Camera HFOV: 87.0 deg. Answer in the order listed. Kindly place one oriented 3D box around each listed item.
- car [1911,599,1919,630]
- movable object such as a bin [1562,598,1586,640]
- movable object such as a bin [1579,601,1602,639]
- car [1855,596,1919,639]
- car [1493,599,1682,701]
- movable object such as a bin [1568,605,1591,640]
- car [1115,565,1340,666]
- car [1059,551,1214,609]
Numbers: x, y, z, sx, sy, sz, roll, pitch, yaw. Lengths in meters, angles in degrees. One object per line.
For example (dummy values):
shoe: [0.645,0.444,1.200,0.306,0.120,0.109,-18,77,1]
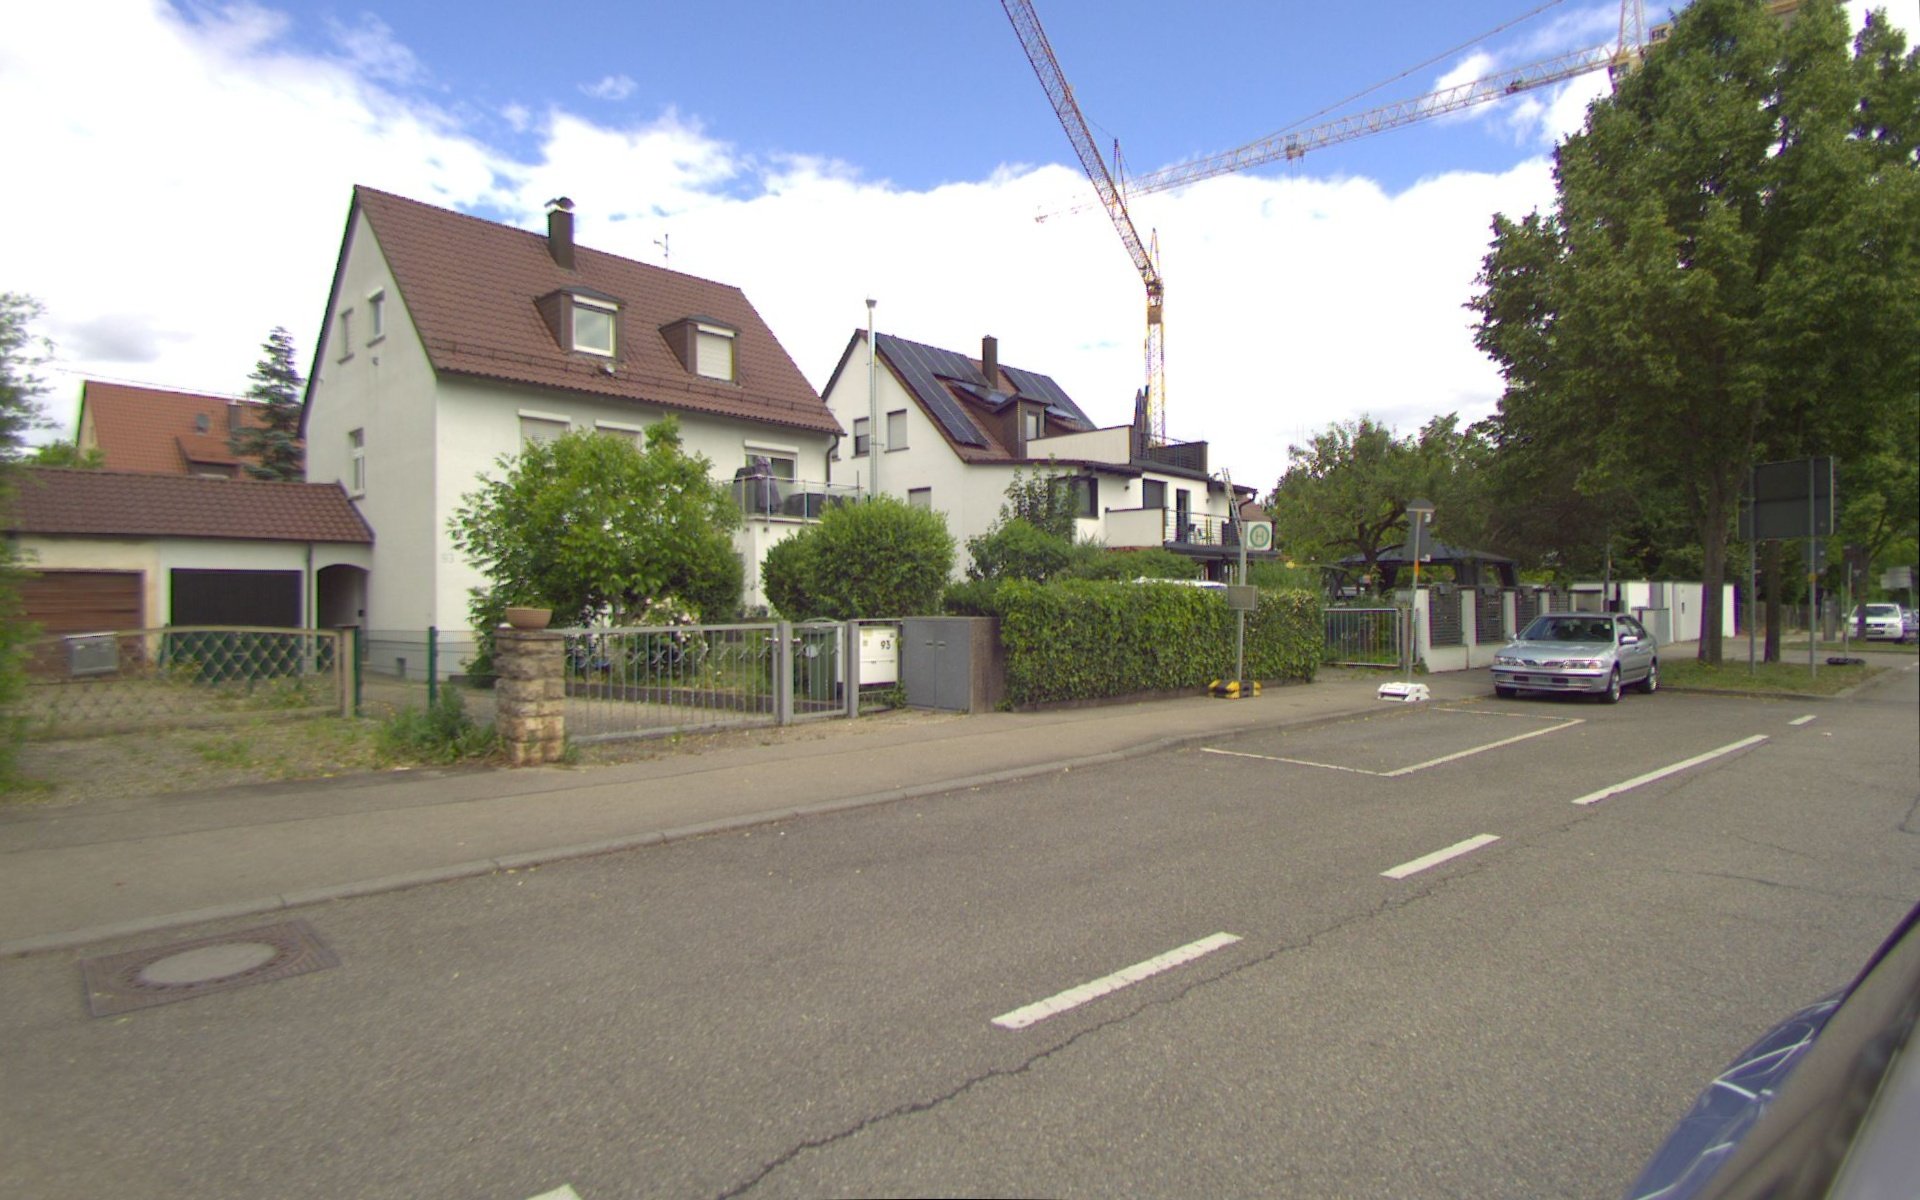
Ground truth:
car: [52.160,0.734,53.834,4.606,1.631,1.863,0,-1,-42]
movable object such as a bin: [16.641,0.514,27.429,0.447,1.124,0.437,1,0,-42]
movable object such as a bin: [17.506,0.546,28.088,0.447,1.035,0.437,1,0,-42]
car: [37.770,0.672,41.011,4.048,1.663,1.902,0,0,-43]
car: [10.523,0.729,16.841,4.314,1.394,1.613,-2,1,-43]
movable object such as a bin: [17.019,0.606,27.789,0.389,0.932,0.437,1,0,-42]
car: [5.350,0.277,20.528,1.968,1.846,3.988,0,0,-45]
car: [6.251,-0.676,36.169,5.176,1.927,2.019,0,0,40]
